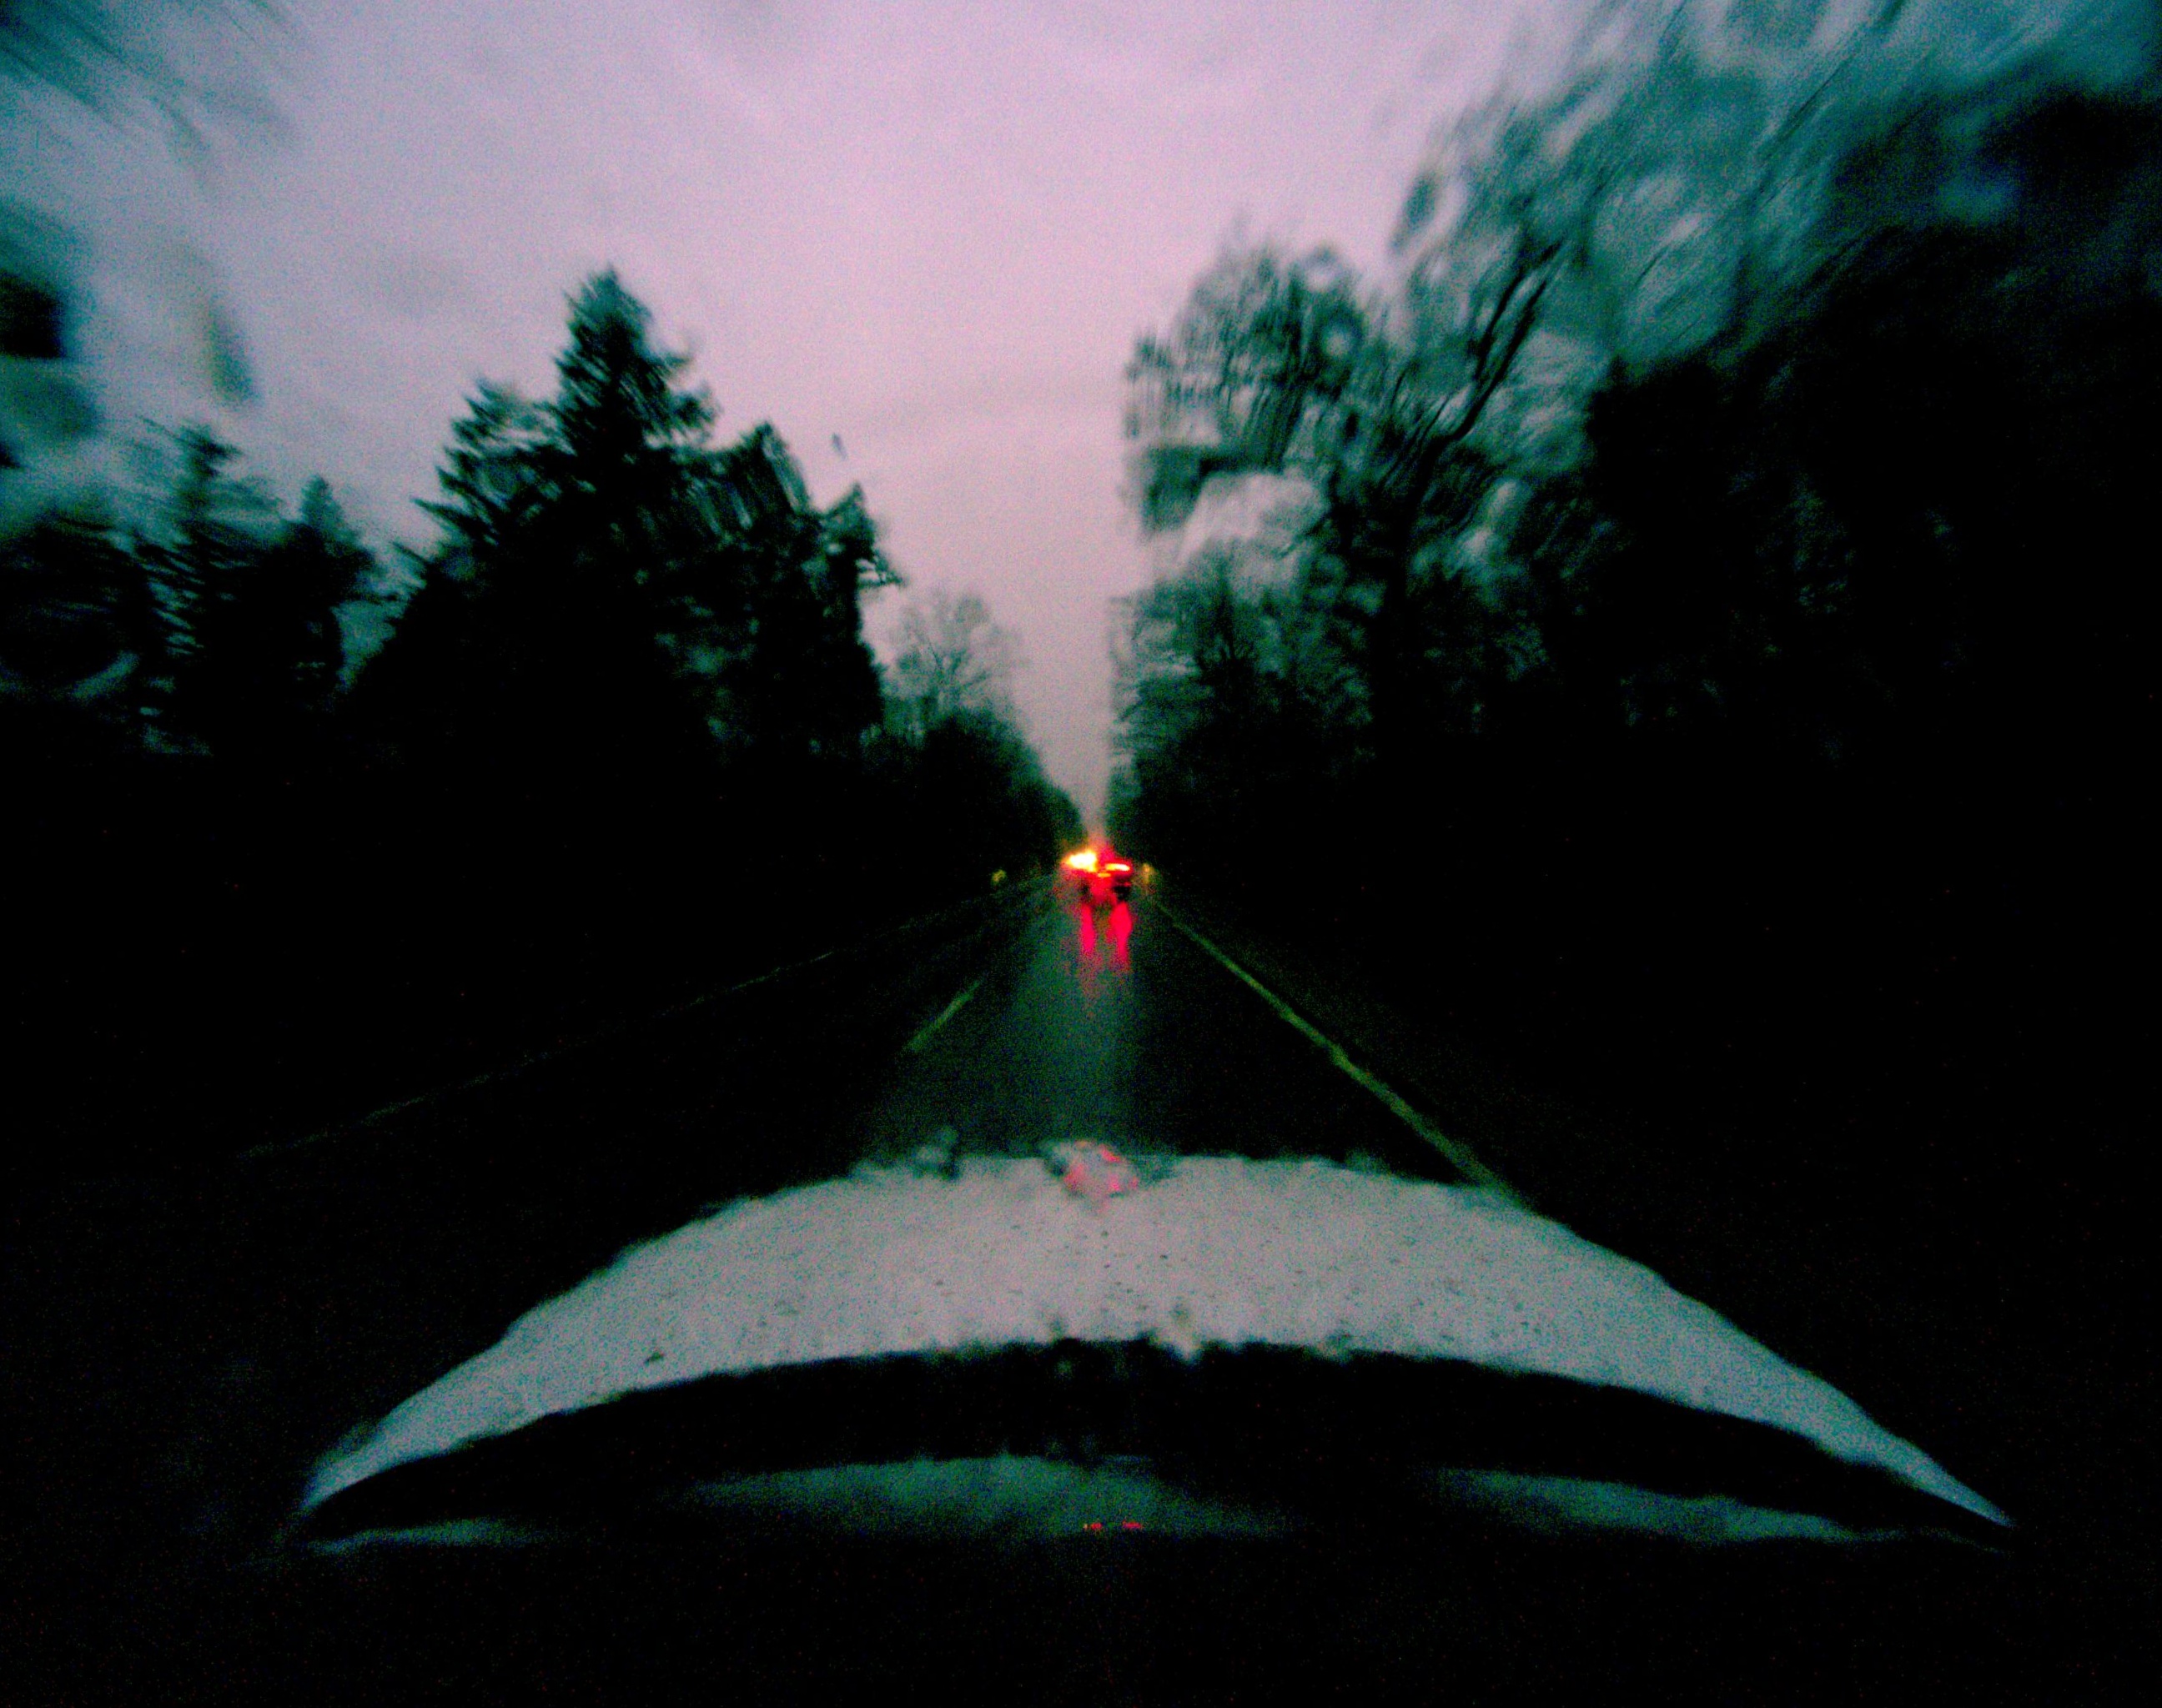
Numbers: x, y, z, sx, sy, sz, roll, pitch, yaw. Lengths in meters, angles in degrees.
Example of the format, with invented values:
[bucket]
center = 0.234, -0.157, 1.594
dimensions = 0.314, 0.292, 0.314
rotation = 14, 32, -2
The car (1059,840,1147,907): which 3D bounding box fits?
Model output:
[car]
center = 0.924, 0.721, 32.790
dimensions = 3.171, 2.386, 6.639
rotation = 0, 0, 2
